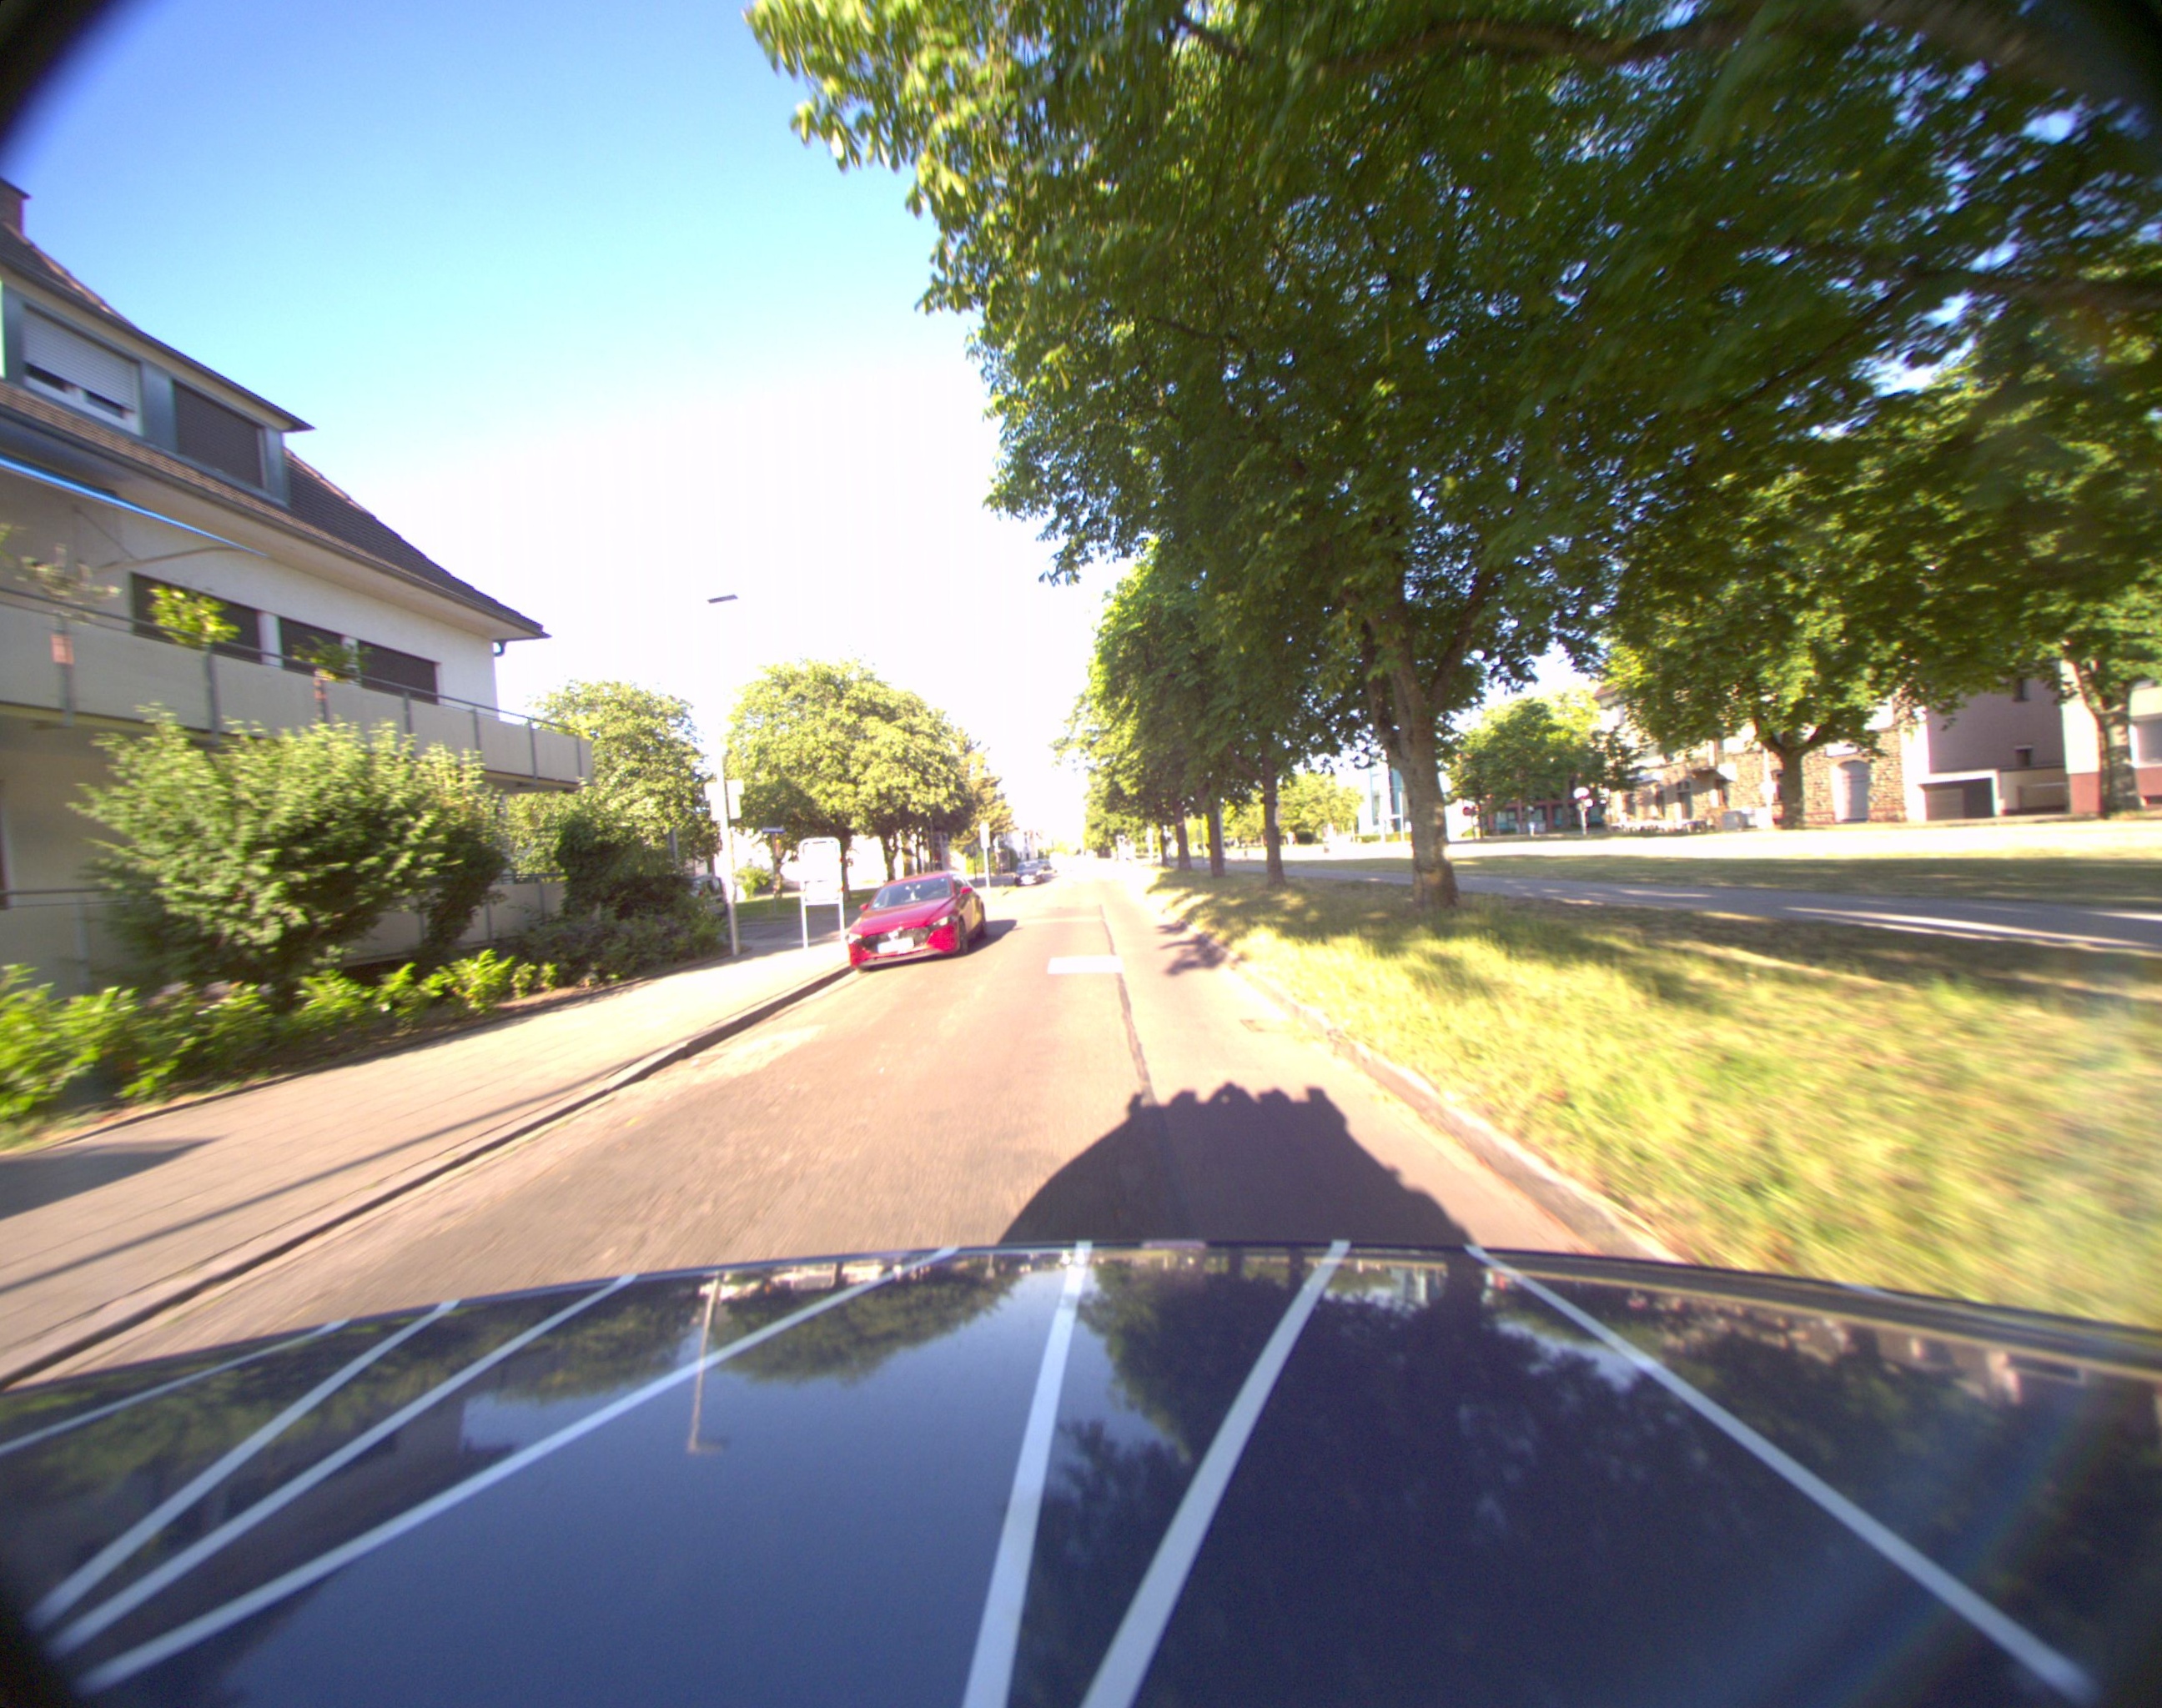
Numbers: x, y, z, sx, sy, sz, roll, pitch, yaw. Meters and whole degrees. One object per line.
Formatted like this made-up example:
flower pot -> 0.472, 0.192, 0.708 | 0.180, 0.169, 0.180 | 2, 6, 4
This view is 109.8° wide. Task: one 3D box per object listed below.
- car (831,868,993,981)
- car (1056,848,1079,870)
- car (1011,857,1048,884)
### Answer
car -> -2.783, 1.096, 13.519 | 1.824, 1.486, 4.224 | -4, 0, 0
car -> -1.296, 0.489, 76.484 | 1.998, 2.002, 4.000 | -5, 0, 1
car -> -3.176, 1.008, 47.672 | 1.998, 1.576, 4.346 | 0, 0, 1
